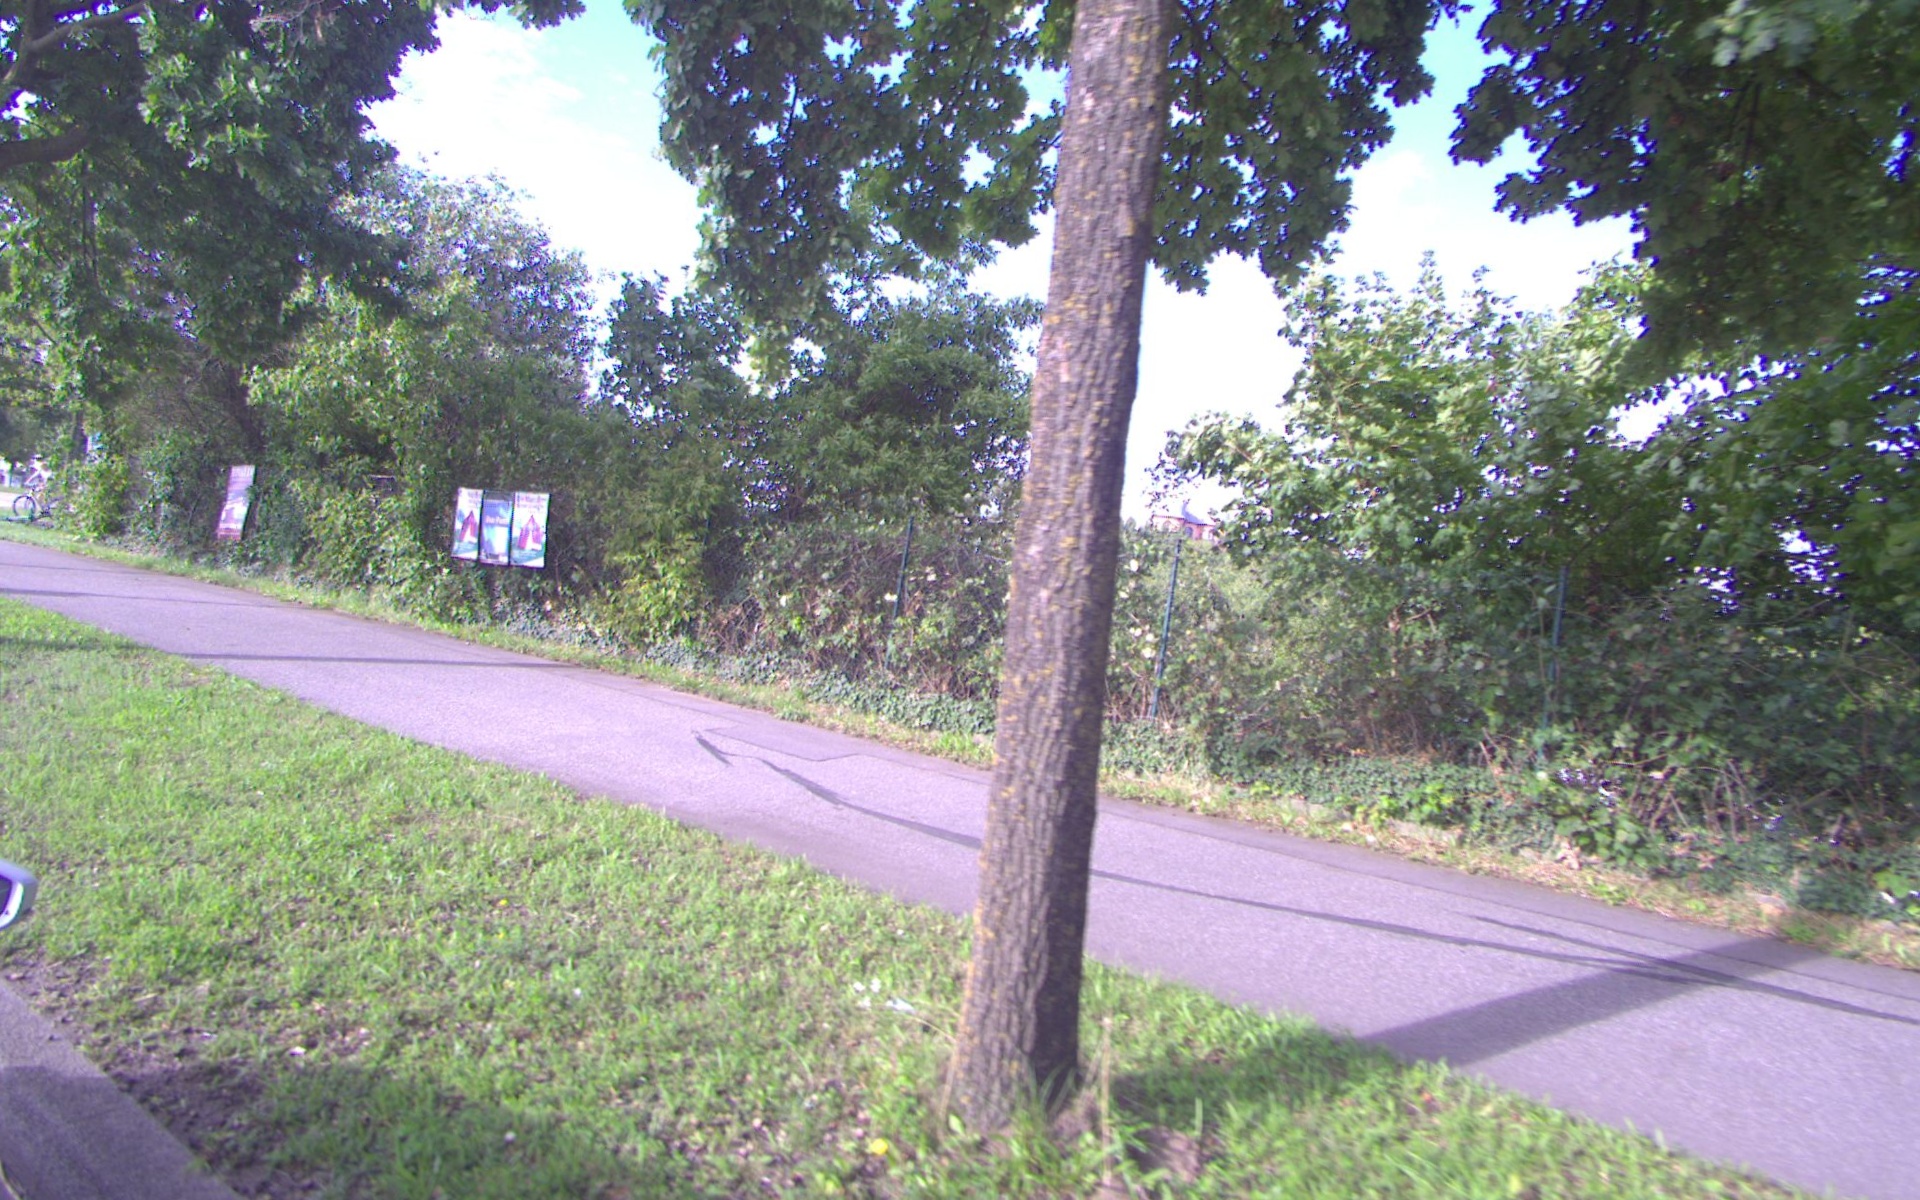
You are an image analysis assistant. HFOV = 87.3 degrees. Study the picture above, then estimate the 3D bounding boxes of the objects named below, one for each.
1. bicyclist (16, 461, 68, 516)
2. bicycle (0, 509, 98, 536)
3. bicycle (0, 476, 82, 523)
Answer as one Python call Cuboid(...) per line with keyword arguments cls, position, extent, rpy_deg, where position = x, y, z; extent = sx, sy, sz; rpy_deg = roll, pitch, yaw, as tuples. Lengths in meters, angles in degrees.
Cuboid(cls="bicyclist", position=(-28.648, -3.470, 31.395), extent=(0.727, 1.546, 0.851), rpy_deg=(7, 1, 15))
Cuboid(cls="bicycle", position=(-23.590, -2.003, 25.625), extent=(2.529, 0.390, 1.411), rpy_deg=(7, 0, 21))
Cuboid(cls="bicycle", position=(-28.701, -3.123, 31.439), extent=(0.643, 1.178, 1.731), rpy_deg=(7, 0, 16))
